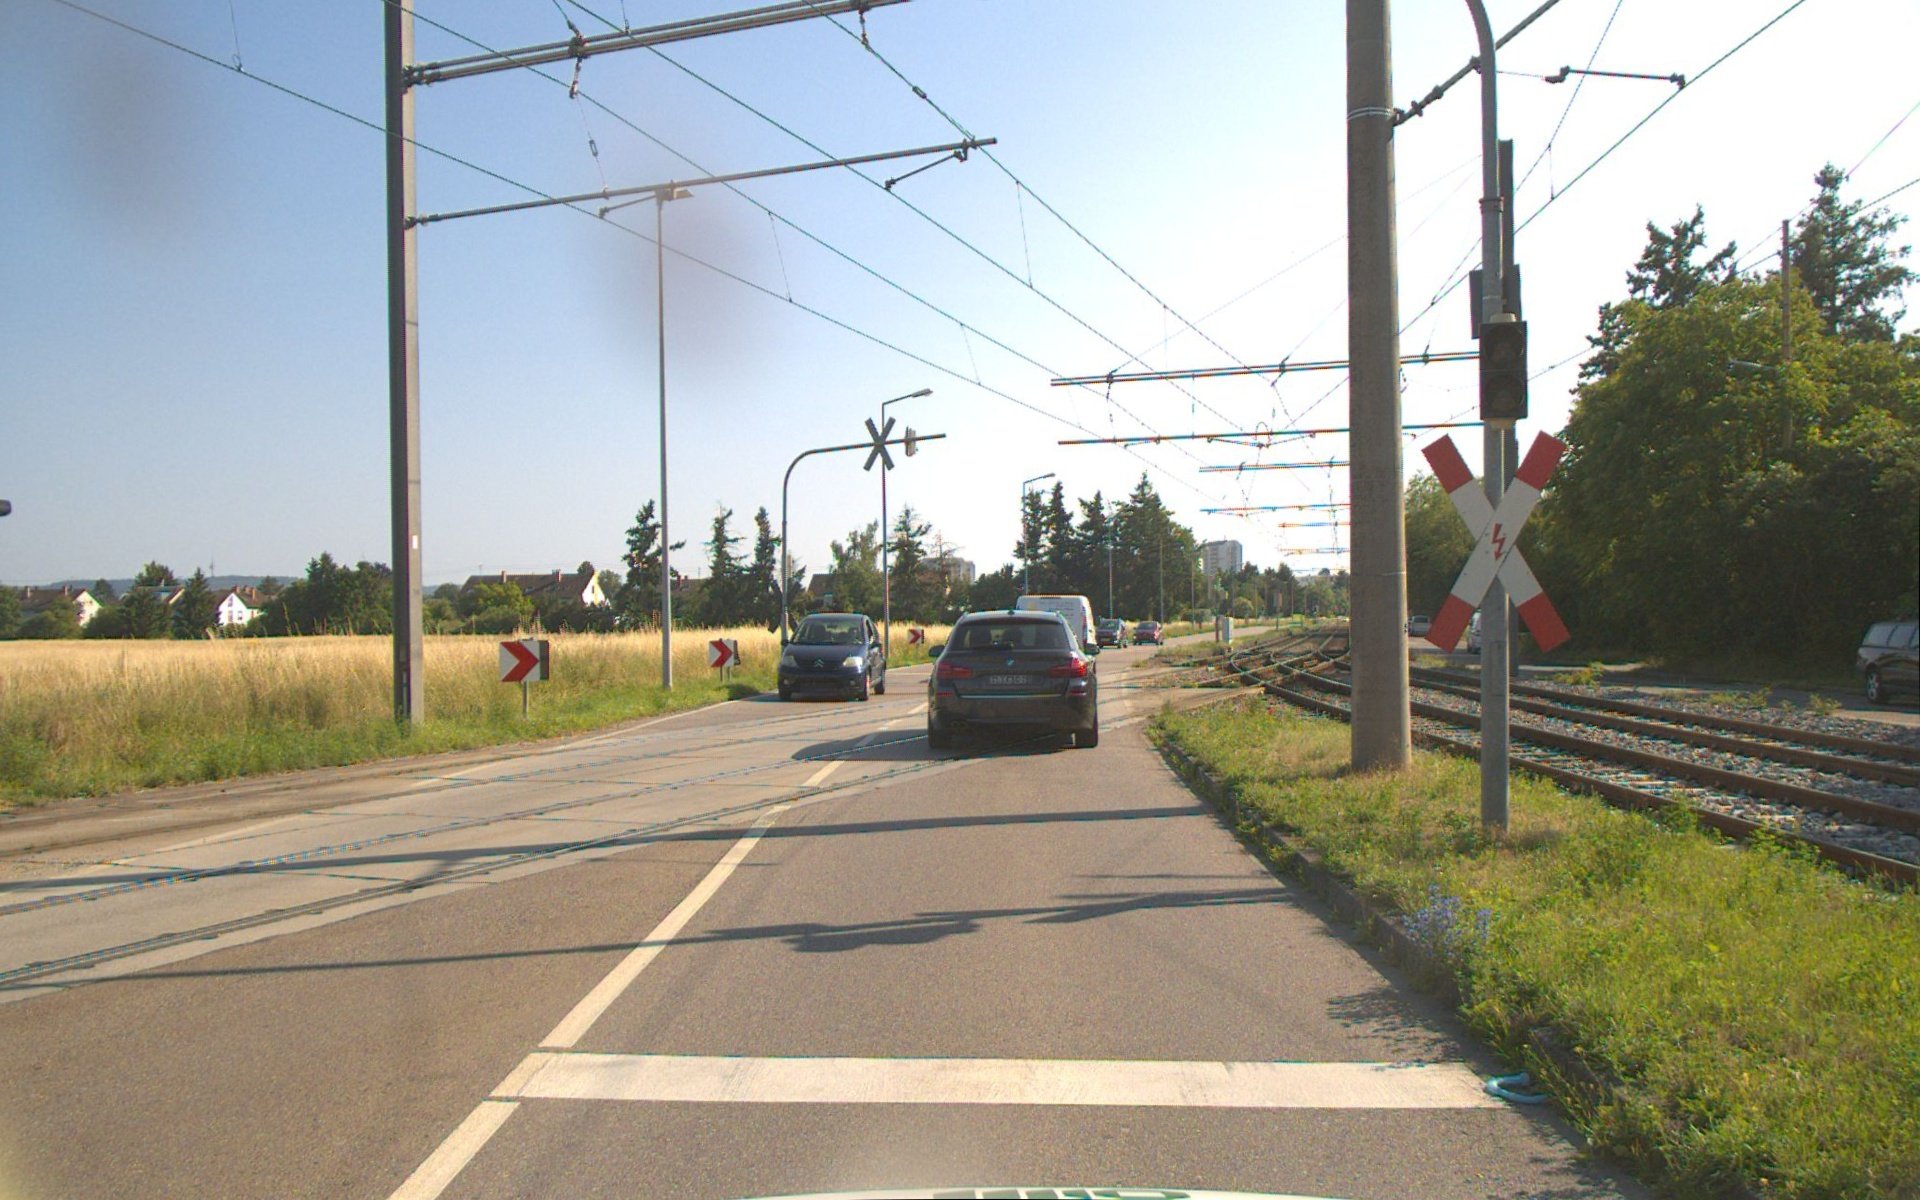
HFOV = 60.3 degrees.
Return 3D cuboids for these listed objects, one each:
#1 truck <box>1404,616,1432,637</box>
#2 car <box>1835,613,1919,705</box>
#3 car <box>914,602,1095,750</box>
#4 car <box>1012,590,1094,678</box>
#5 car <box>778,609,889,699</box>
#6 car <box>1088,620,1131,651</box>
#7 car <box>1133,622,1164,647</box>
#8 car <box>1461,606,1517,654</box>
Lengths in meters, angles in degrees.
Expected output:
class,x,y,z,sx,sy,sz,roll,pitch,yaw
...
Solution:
class,x,y,z,sx,sy,sz,roll,pitch,yaw
truck,41.334,2.348,149.426,2.157,1.851,5.934,-1,-1,13
car,16.512,1.001,27.626,1.662,1.482,4.884,2,0,7
car,0.514,0.768,19.097,1.830,1.478,4.744,0,0,1
car,2.372,0.807,41.079,1.818,2.023,5.111,0,0,5
car,-2.272,0.976,30.552,1.590,1.520,4.001,-1,-1,2
car,8.601,2.014,94.981,1.670,1.694,4.593,0,-1,16
car,12.464,2.279,109.100,1.676,1.576,3.931,0,-1,12
car,24.207,1.373,75.825,1.951,2.039,5.071,2,0,12
